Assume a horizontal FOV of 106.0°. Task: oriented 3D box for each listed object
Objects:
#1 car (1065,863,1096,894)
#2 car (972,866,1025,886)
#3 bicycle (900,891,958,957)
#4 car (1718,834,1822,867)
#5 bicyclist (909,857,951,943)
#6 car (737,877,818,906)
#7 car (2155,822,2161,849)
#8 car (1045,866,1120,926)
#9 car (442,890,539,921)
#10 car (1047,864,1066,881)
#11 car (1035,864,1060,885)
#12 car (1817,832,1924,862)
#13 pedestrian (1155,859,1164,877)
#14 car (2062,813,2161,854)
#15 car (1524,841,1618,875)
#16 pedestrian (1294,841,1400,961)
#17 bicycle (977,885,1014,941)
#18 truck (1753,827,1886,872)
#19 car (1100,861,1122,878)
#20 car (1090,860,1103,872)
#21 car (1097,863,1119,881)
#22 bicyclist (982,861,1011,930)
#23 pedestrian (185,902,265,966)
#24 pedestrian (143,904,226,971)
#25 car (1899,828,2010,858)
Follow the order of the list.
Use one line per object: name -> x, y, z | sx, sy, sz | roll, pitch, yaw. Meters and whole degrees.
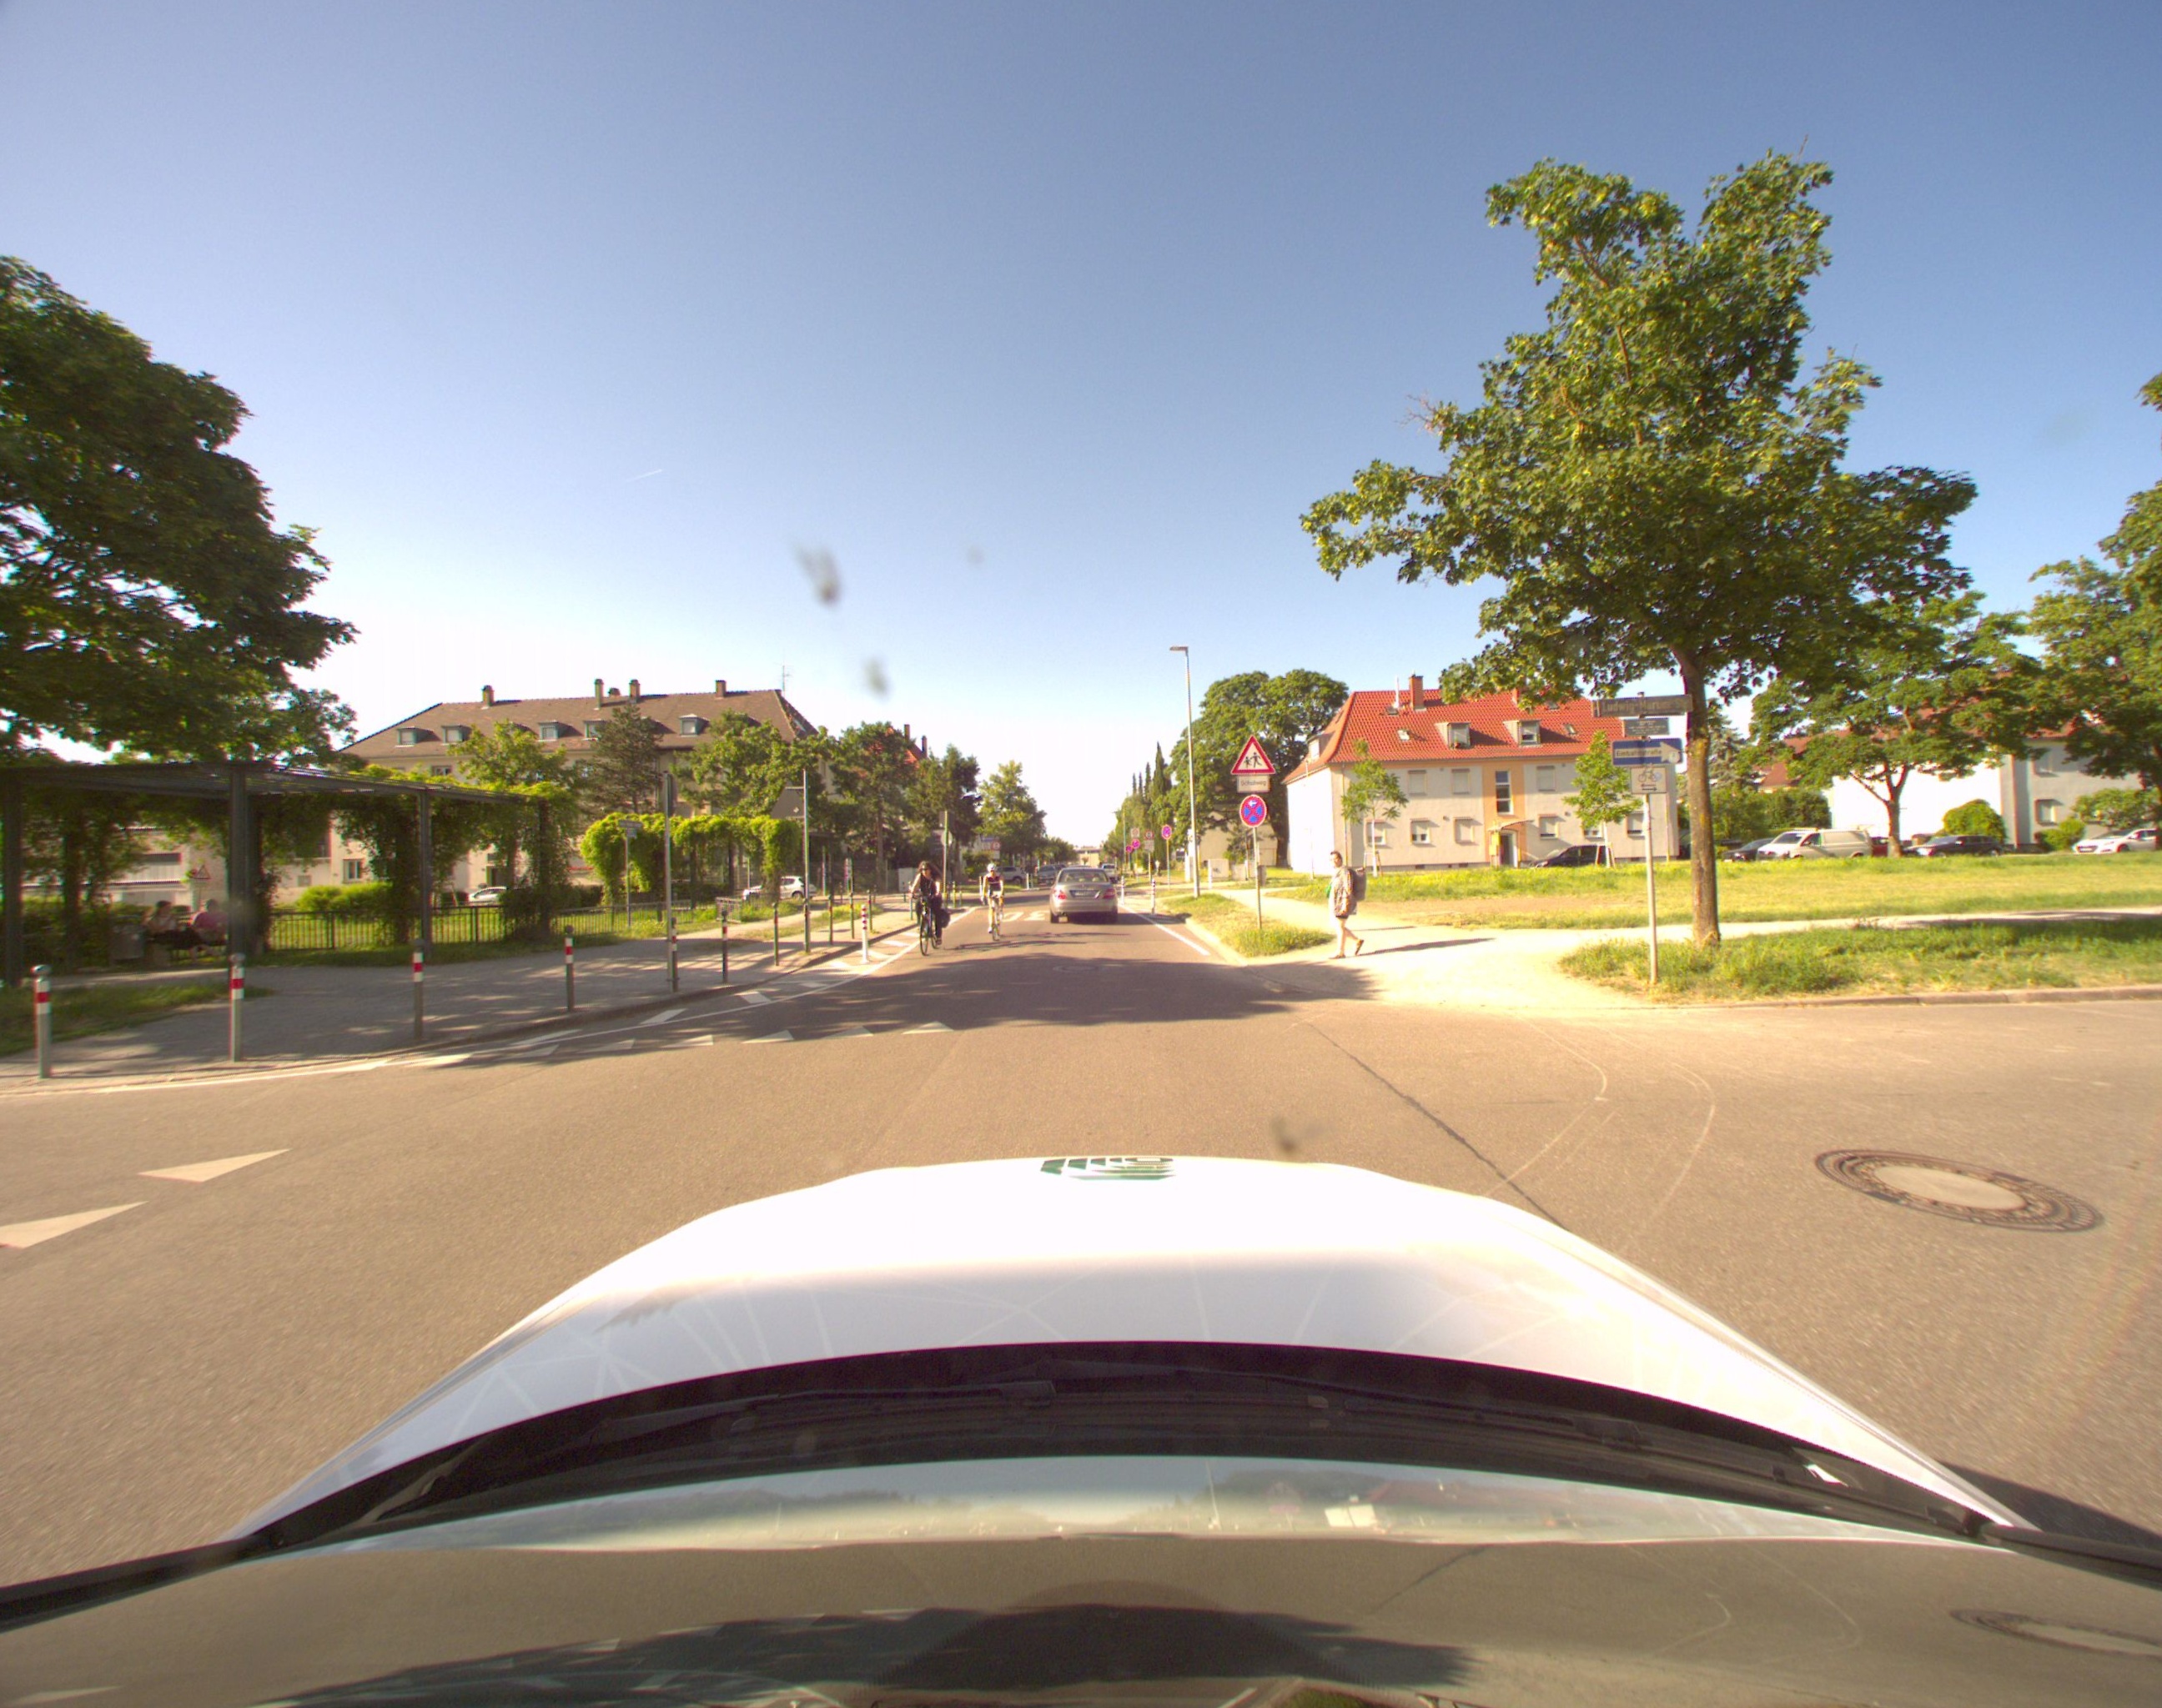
car -> -0.045, 1.319, 45.186 | 1.593, 1.610, 3.641 | -2, -1, -1
car -> -6.732, 1.799, 67.111 | 4.182, 1.564, 1.840 | -1, -1, -3
bicycle -> -2.923, 1.315, 15.840 | 0.640, 1.109, 2.066 | -2, -1, 2
car -> 37.367, -0.164, 44.234 | 4.112, 1.583, 1.722 | -2, -1, 1
bicyclist -> -2.936, 0.881, 15.876 | 0.640, 1.620, 0.637 | -2, -1, 2
car -> -16.637, 2.059, 44.809 | 3.752, 1.398, 1.706 | -2, -2, 0
car -> 61.694, -1.129, 44.447 | 3.783, 1.498, 1.722 | -2, -1, 1
car -> 0.104, 1.072, 22.110 | 1.829, 1.441, 4.001 | -1, -1, 2
car -> -32.453, 2.802, 44.805 | 3.973, 1.495, 1.801 | -2, -2, 0
car -> -2.677, 2.018, 90.130 | 1.988, 1.609, 3.997 | -5, -1, -1
car -> -2.906, 1.771, 72.322 | 1.988, 1.609, 3.997 | -5, -1, -1
car -> 43.017, -0.383, 44.408 | 4.112, 1.442, 1.722 | -2, -1, 1
pedestrian -> 7.069, 1.240, 73.325 | 0.762, 1.611, 0.835 | -2, -1, 5
car -> 56.834, -1.121, 44.463 | 4.227, 2.014, 1.872 | -2, -1, 1
car -> 26.604, 0.241, 44.324 | 4.036, 1.664, 1.722 | -2, -1, 1
pedestrian -> 4.139, 0.706, 12.731 | 1.089, 1.674, 0.908 | -7, 0, -16
bicycle -> -1.826, 1.252, 17.603 | 0.503, 1.089, 1.710 | -2, -1, 2
truck -> 37.341, -0.207, 41.262 | 4.842, 2.036, 2.000 | -2, -1, 0
car -> 3.122, 1.623, 85.449 | 1.988, 1.610, 3.997 | -2, -1, -1
car -> 2.486, 1.979, 130.538 | 1.849, 1.841, 3.999 | -2, -1, 0
car -> 2.441, 1.621, 74.589 | 1.728, 1.480, 3.723 | -2, -1, -1
bicyclist -> -1.832, 0.893, 17.714 | 0.494, 1.464, 0.688 | -2, -1, 2
pedestrian -> -16.509, 1.536, 15.719 | 0.869, 1.139, 0.599 | -2, -1, 1
pedestrian -> -16.546, 1.530, 15.038 | 0.840, 1.149, 0.599 | -2, -1, 2
car -> 47.606, -0.575, 44.432 | 4.112, 1.442, 1.722 | -2, -1, 1
